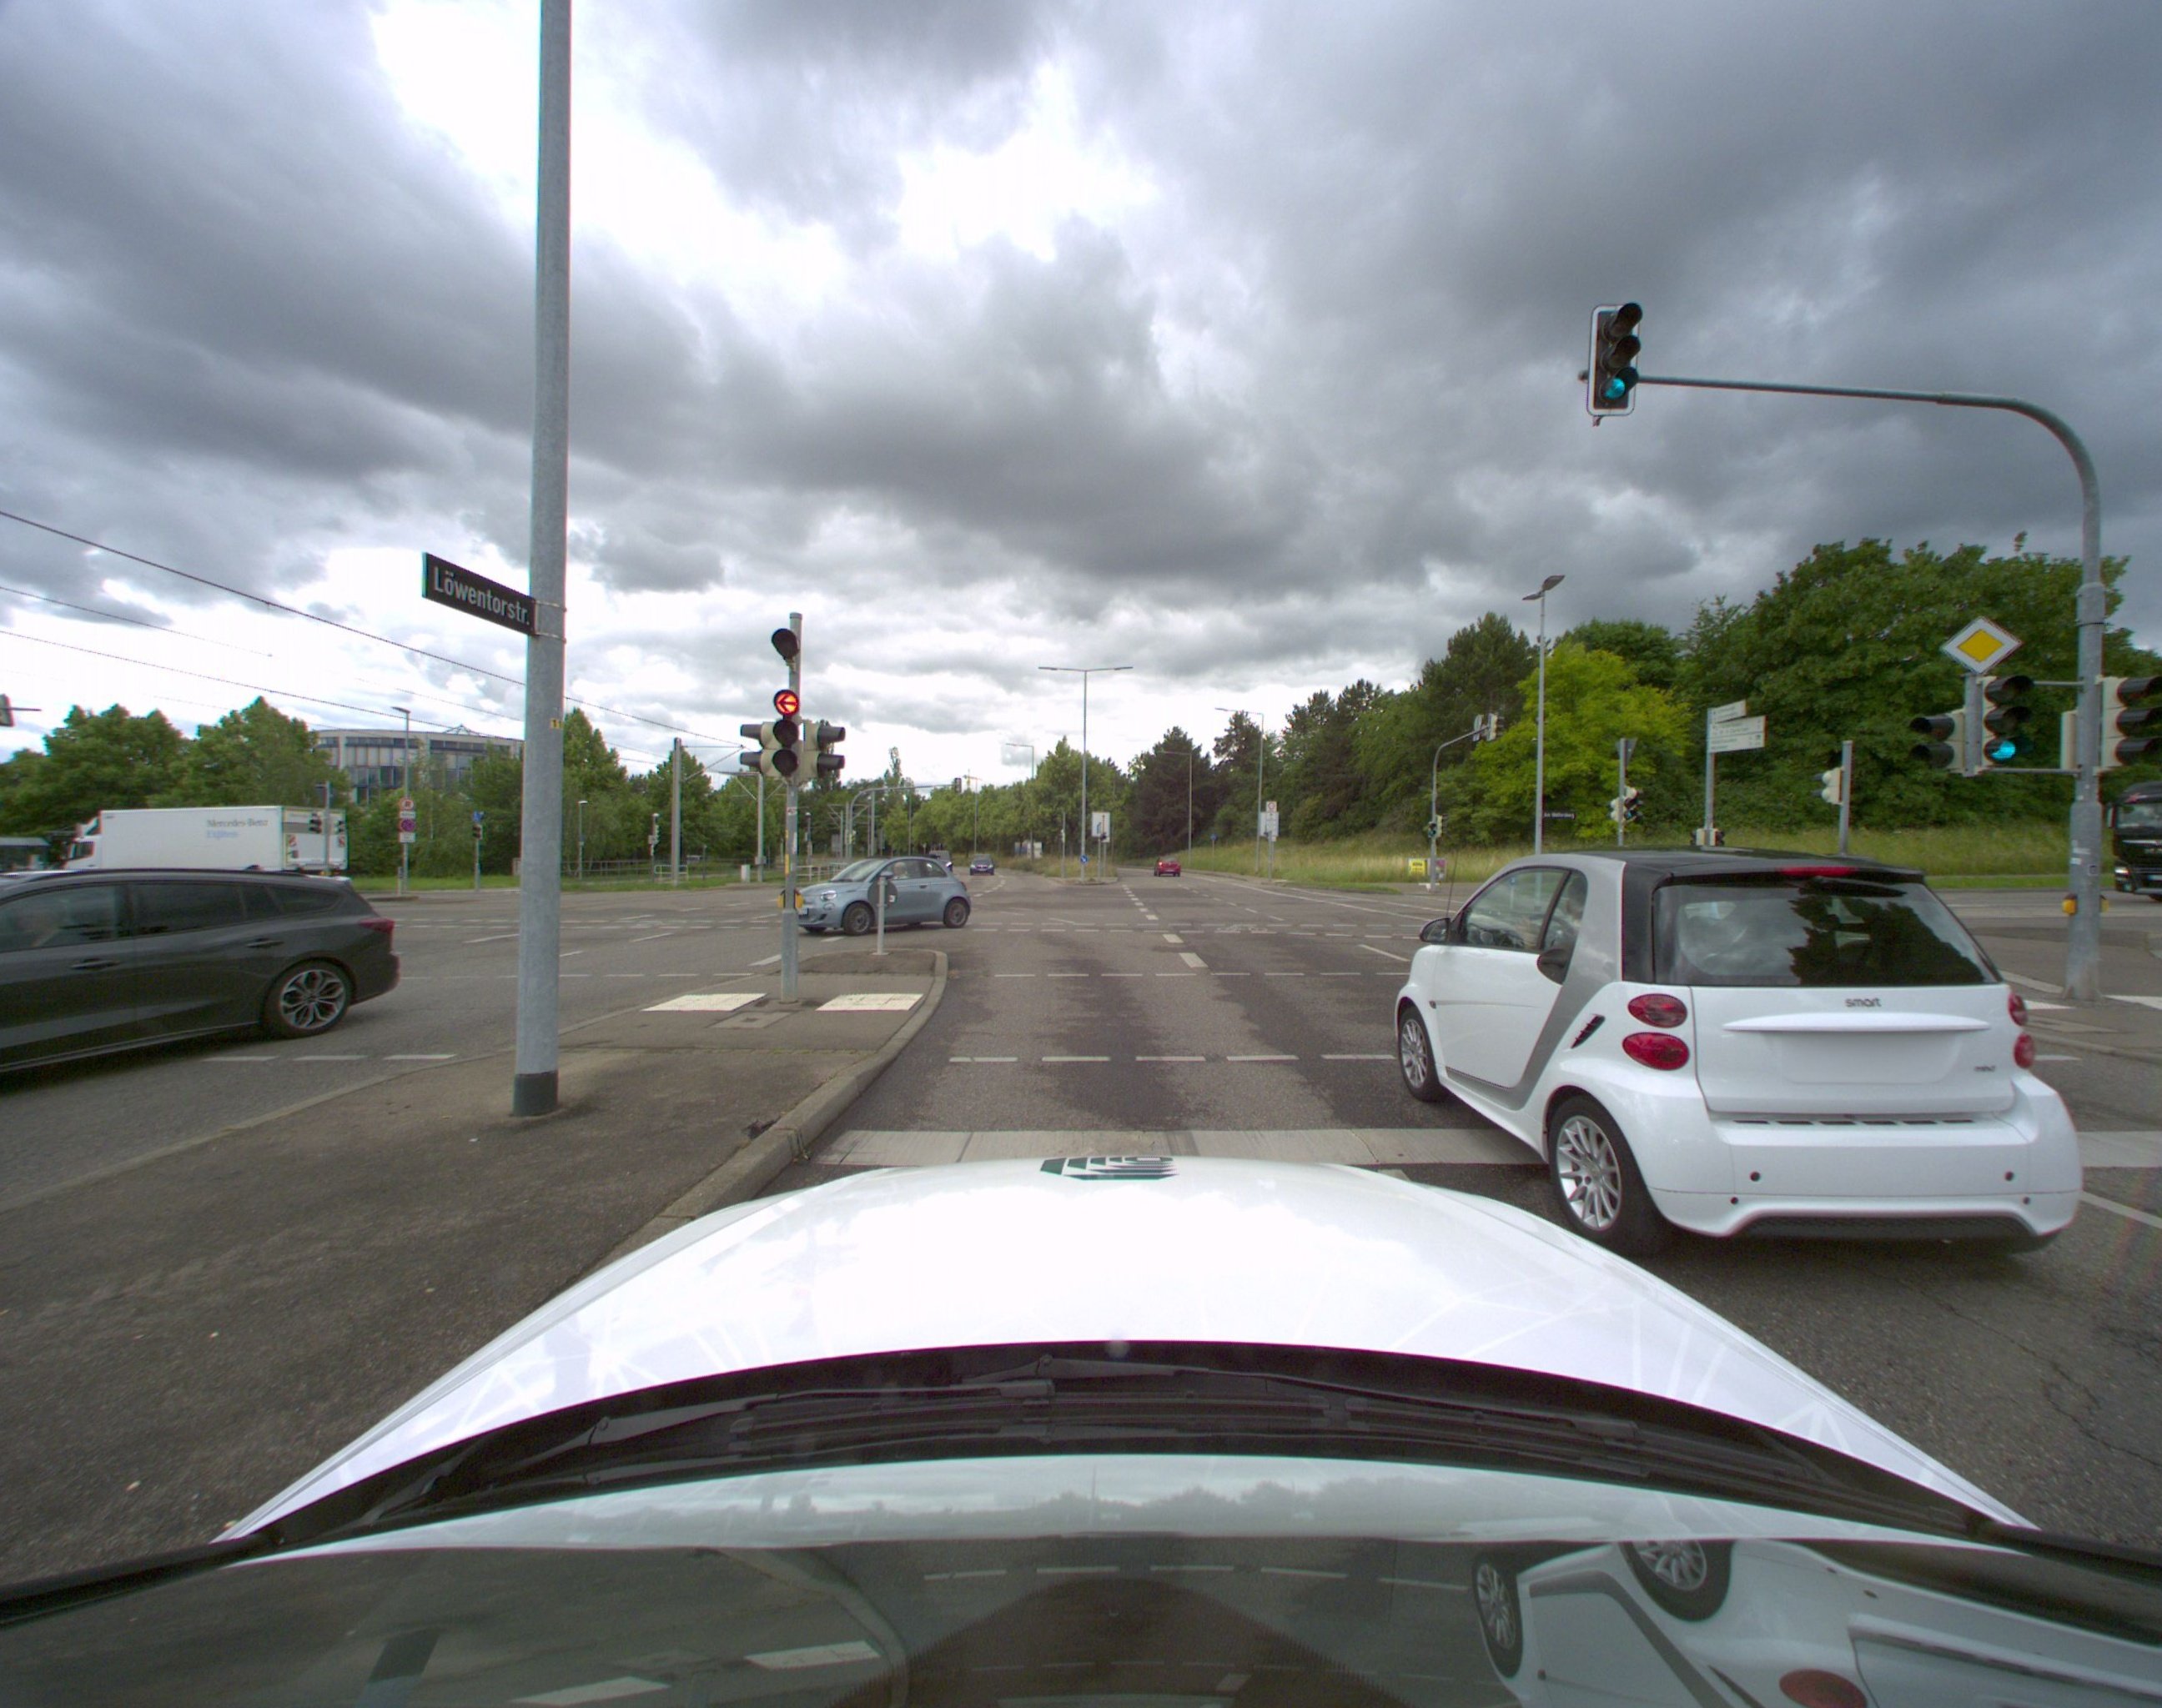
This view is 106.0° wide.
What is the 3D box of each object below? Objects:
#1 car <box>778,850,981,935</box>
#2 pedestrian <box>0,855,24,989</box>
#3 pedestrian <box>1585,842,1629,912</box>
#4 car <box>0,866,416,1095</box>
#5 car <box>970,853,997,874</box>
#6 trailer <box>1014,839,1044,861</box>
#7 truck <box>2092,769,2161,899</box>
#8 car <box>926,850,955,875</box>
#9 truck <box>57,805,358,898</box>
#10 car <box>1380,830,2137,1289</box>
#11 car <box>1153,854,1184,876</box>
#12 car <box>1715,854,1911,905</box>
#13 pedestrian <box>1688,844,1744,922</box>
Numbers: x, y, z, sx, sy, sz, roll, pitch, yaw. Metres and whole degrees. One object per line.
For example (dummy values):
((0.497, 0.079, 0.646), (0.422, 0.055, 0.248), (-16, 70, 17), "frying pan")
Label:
((-4.008, 0.708, 16.543), (1.740, 1.528, 3.622), (-1, -1, 44), "car")
((-12.710, 0.780, 9.175), (0.632, 1.536, 0.719), (0, -1, -2), "pedestrian")
((12.708, 0.549, 19.689), (0.640, 1.662, 0.715), (0, -1, 8), "pedestrian")
((-7.657, 0.816, 5.776), (1.860, 1.424, 4.442), (0, -1, 8), "car")
((-7.267, 0.678, 60.917), (1.732, 1.508, 3.656), (0, -1, -3), "car")
((-7.553, -0.554, 117.786), (2.756, 3.012, 6.046), (0, -1, -20), "trailer")
((32.131, -0.562, 22.014), (5.971, 3.486, 2.694), (0, -1, 4), "truck")
((-10.772, 0.617, 62.641), (1.886, 1.812, 5.079), (-1, 0, -7), "car")
((-35.337, -0.088, 33.171), (9.215, 3.532, 3.019), (0, 0, 2), "truck")
((2.757, 0.695, 4.106), (1.585, 1.516, 2.768), (0, -1, 3), "car")
((6.579, 0.820, 61.773), (1.780, 1.603, 3.883), (0, -1, -3), "car")
((20.336, 0.701, 22.749), (3.859, 1.338, 1.698), (0, -1, 4), "car")
((13.288, 0.599, 17.054), (0.640, 1.612, 0.715), (0, -1, 7), "pedestrian")
